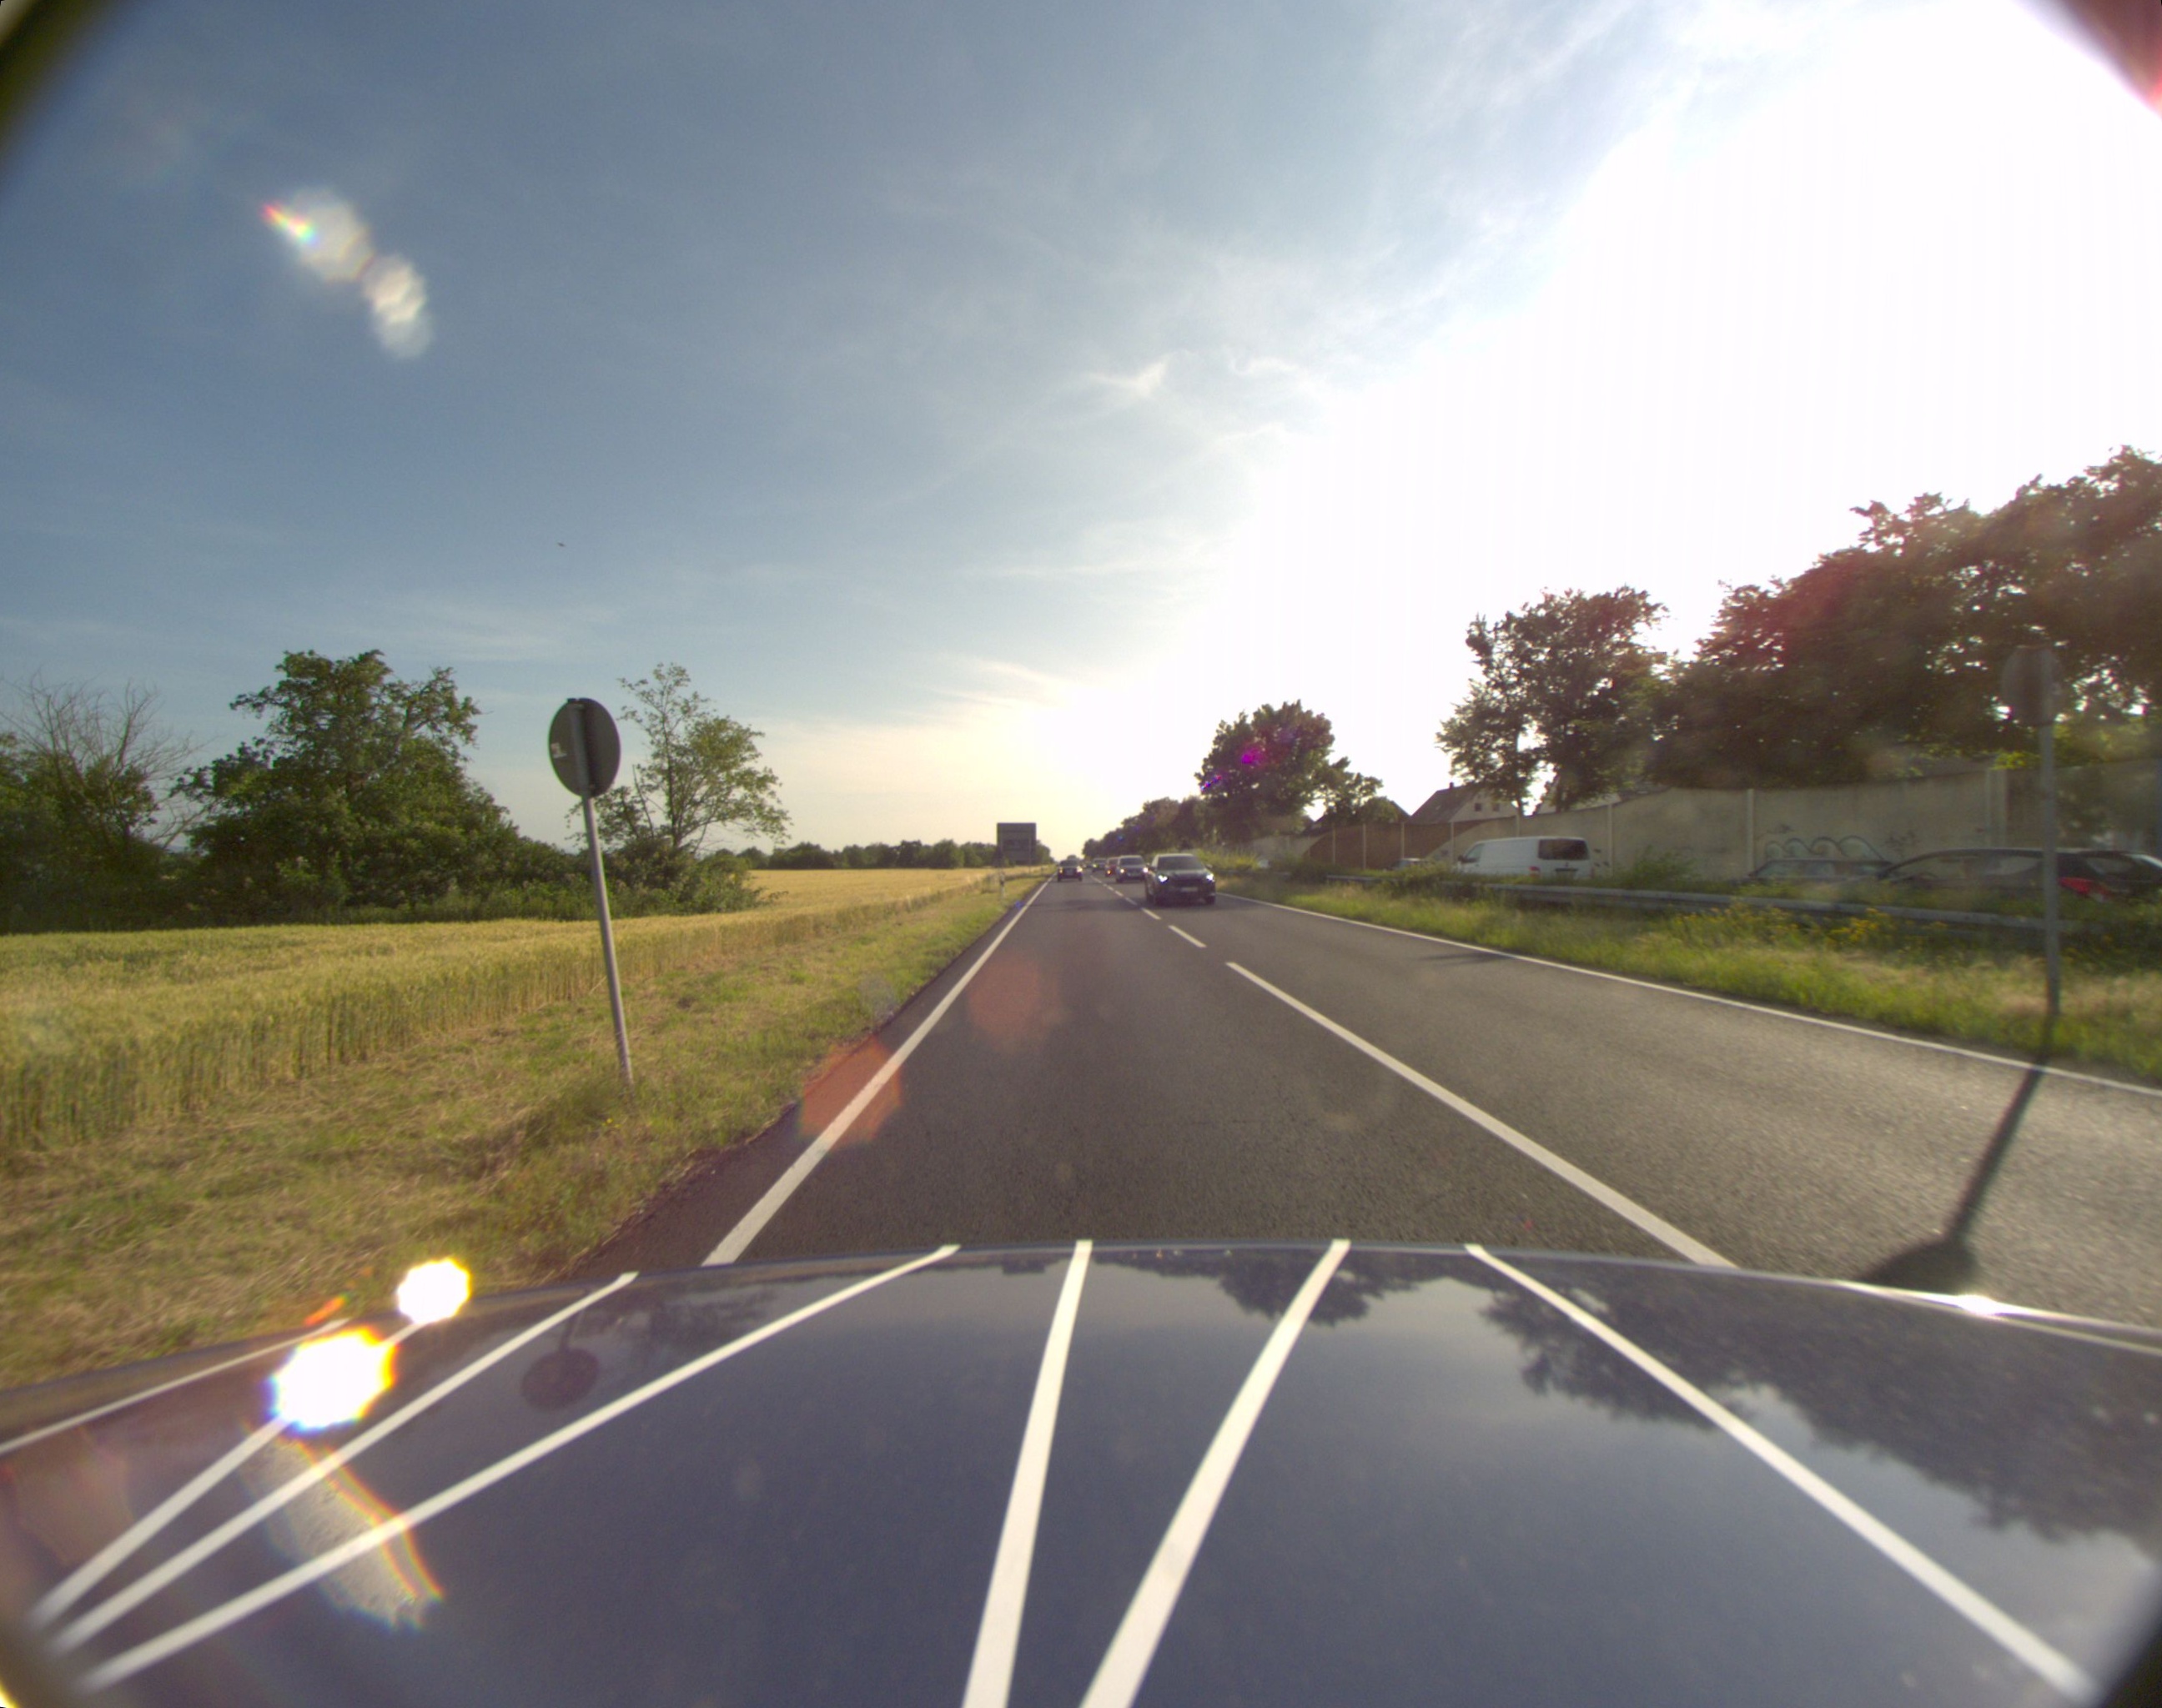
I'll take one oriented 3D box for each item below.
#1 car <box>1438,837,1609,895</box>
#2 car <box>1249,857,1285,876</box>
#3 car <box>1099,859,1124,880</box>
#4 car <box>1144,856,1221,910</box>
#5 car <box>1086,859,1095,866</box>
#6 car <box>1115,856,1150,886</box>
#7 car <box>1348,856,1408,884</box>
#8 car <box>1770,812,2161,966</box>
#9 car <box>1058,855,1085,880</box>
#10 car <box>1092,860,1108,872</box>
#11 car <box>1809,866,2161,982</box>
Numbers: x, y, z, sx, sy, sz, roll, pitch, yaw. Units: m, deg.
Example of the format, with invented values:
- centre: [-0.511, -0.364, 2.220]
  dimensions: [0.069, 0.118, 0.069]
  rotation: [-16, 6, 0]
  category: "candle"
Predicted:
- centre: [12.910, 0.327, 22.658]
  dimensions: [1.986, 1.475, 5.059]
  rotation: [-2, 0, -2]
  category: "car"
- centre: [14.773, 0.968, 60.575]
  dimensions: [1.759, 1.433, 3.999]
  rotation: [-2, 0, -2]
  category: "car"
- centre: [2.533, 1.310, 64.705]
  dimensions: [1.822, 1.661, 3.999]
  rotation: [-2, 0, -1]
  category: "car"
- centre: [3.204, 0.868, 24.743]
  dimensions: [1.822, 1.516, 4.246]
  rotation: [-2, 0, -1]
  category: "car"
- centre: [1.870, 1.676, 150.814]
  dimensions: [1.693, 1.397, 3.999]
  rotation: [-2, 0, -2]
  category: "car"
- centre: [3.140, 0.994, 46.912]
  dimensions: [1.822, 1.724, 4.000]
  rotation: [-2, 0, -1]
  category: "car"
- centre: [15.677, 0.798, 40.224]
  dimensions: [1.678, 1.370, 3.607]
  rotation: [-2, 0, -1]
  category: "car"
- centre: [13.164, 0.402, 11.289]
  dimensions: [1.768, 1.821, 4.368]
  rotation: [-2, 0, -2]
  category: "car"
- centre: [-0.732, 0.956, 55.033]
  dimensions: [1.823, 1.661, 3.999]
  rotation: [-2, 0, -1]
  category: "car"
- centre: [2.275, 1.450, 92.751]
  dimensions: [1.700, 1.456, 3.646]
  rotation: [-2, 0, -2]
  category: "car"
- centre: [16.066, 1.110, 13.761]
  dimensions: [1.840, 1.682, 3.999]
  rotation: [-2, 0, -2]
  category: "car"
